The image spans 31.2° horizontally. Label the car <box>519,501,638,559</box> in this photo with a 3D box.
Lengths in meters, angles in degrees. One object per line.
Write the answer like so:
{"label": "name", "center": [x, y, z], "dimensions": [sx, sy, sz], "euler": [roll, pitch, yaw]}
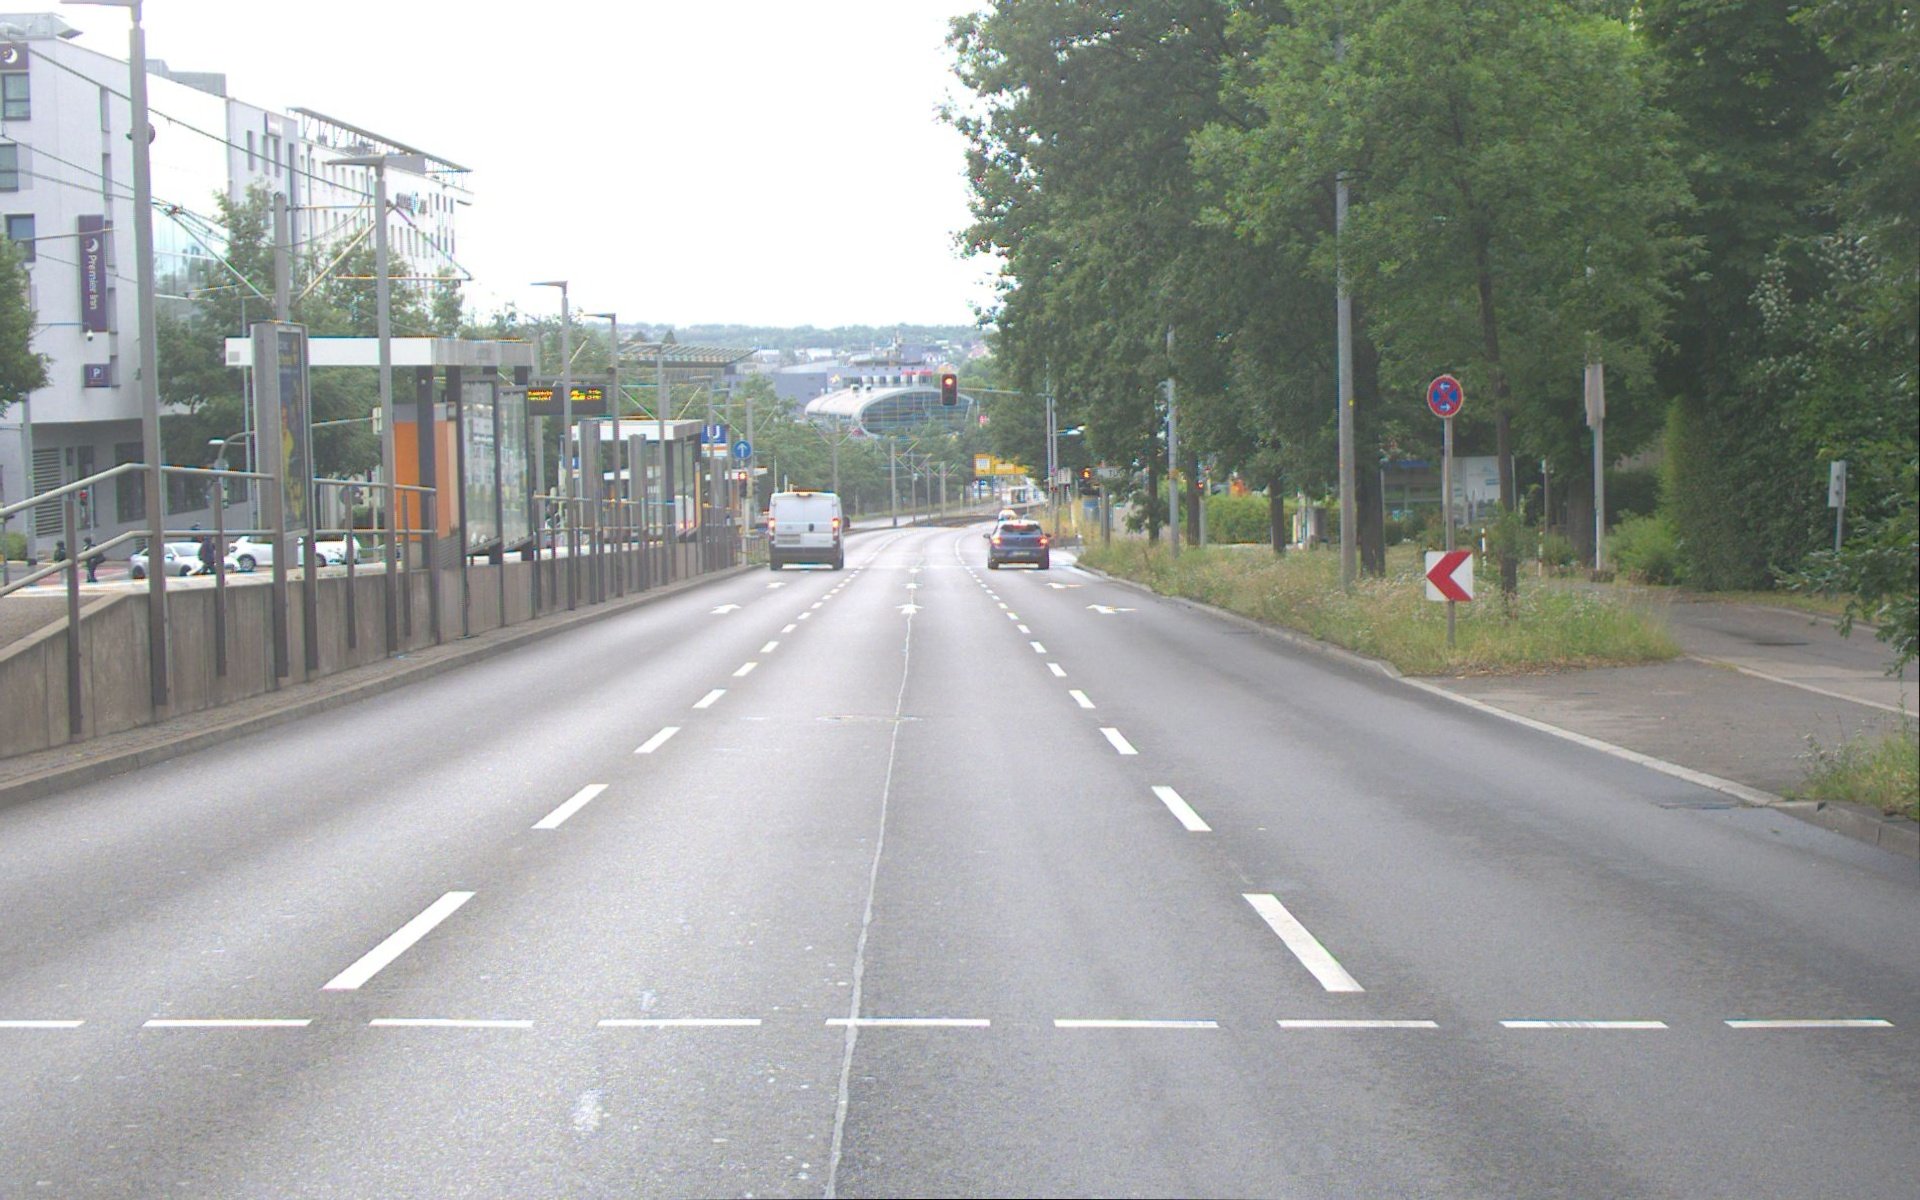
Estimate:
{"label": "car", "center": [-13.511, -2.489, 121.715], "dimensions": [3.986, 2.007, 1.760], "euler": [0, 1, -14]}

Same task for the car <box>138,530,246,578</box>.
{"label": "car", "center": [-25.266, -1.508, 113.070], "dimensions": [1.651, 1.431, 3.877], "euler": [-4, 2, -44]}

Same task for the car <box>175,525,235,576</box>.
{"label": "car", "center": [-22.768, -1.488, 103.623], "dimensions": [1.650, 1.431, 3.881], "euler": [-3, 1, -13]}

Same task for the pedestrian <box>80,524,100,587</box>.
{"label": "pedestrian", "center": [-26.732, -1.370, 105.603], "dimensions": [0.475, 1.914, 0.490], "euler": [0, 1, -1]}

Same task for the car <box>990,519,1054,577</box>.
{"label": "car", "center": [1.830, -1.569, 102.559], "dimensions": [1.774, 1.685, 3.846], "euler": [0, 1, -1]}

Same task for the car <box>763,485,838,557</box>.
{"label": "car", "center": [-4.642, -2.313, 100.499], "dimensions": [2.093, 2.046, 4.607], "euler": [0, 1, -1]}

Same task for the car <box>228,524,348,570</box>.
{"label": "car", "center": [-24.182, -1.910, 123.726], "dimensions": [4.087, 1.431, 1.656], "euler": [-3, 1, -15]}
